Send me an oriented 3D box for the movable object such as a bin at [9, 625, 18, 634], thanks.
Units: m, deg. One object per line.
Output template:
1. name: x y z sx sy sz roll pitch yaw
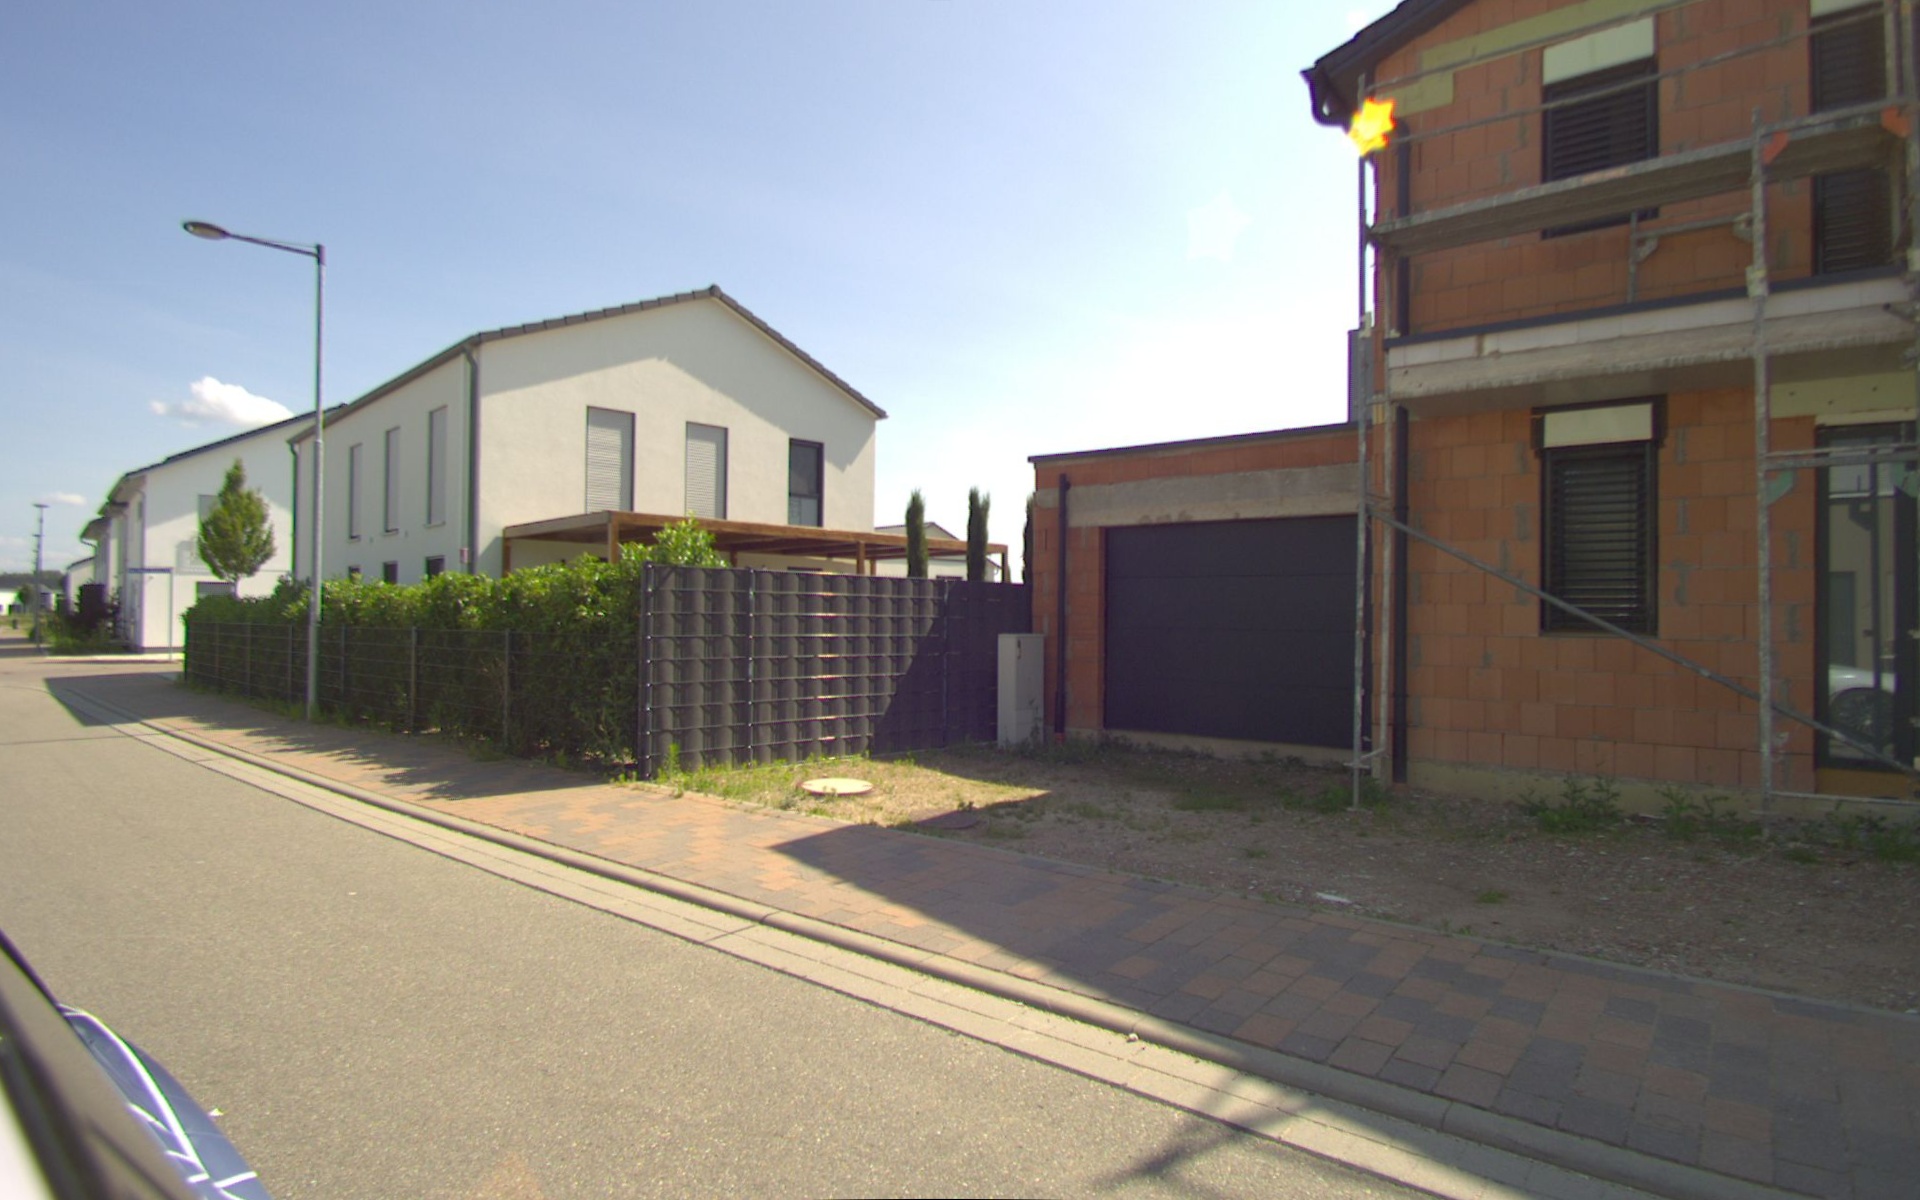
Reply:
1. movable object such as a bin: -93.719 2.892 100.191 0.589 0.928 0.462 2 -2 -42
